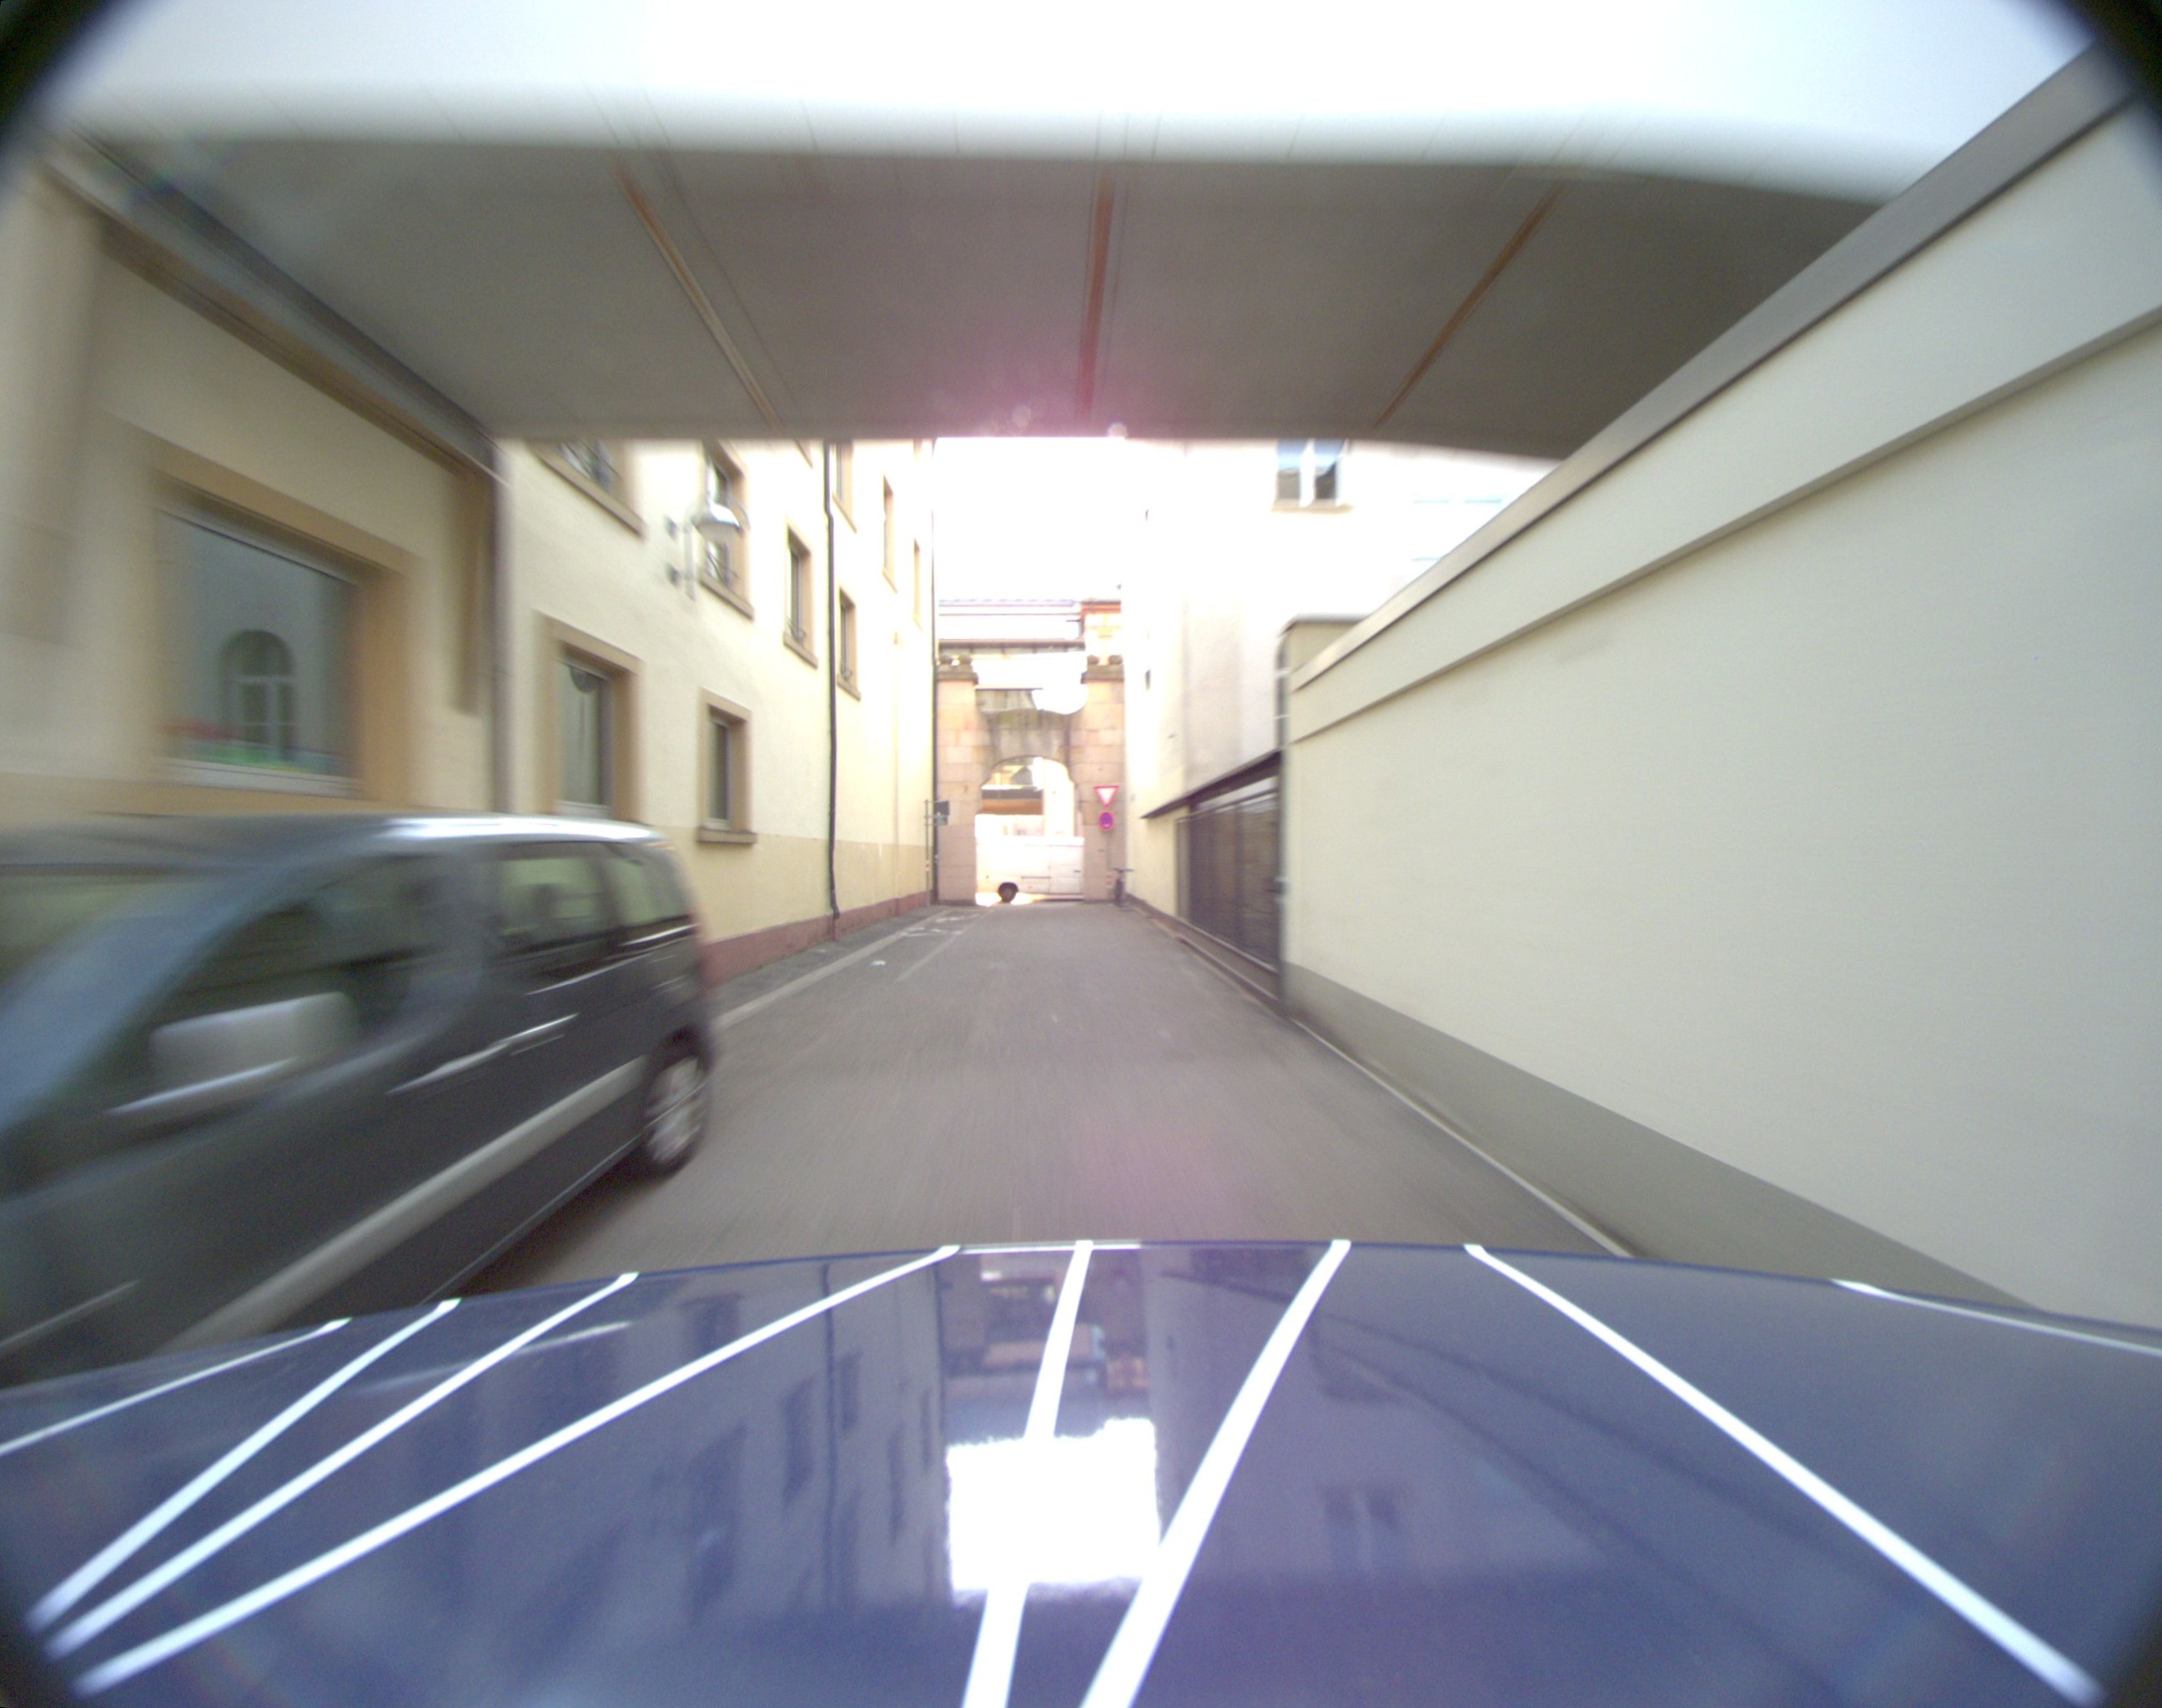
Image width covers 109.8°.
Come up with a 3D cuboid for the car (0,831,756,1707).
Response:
[{"bbox_3d":[-2.799,0.871,2.225,1.764,1.756,4.748,-2,0,-3],"label":"car"}]

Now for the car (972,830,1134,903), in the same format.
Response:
[{"bbox_3d":[-1.164,0.459,29.815,6.042,2.520,2.274,-2,1,-9],"label":"car"}]
